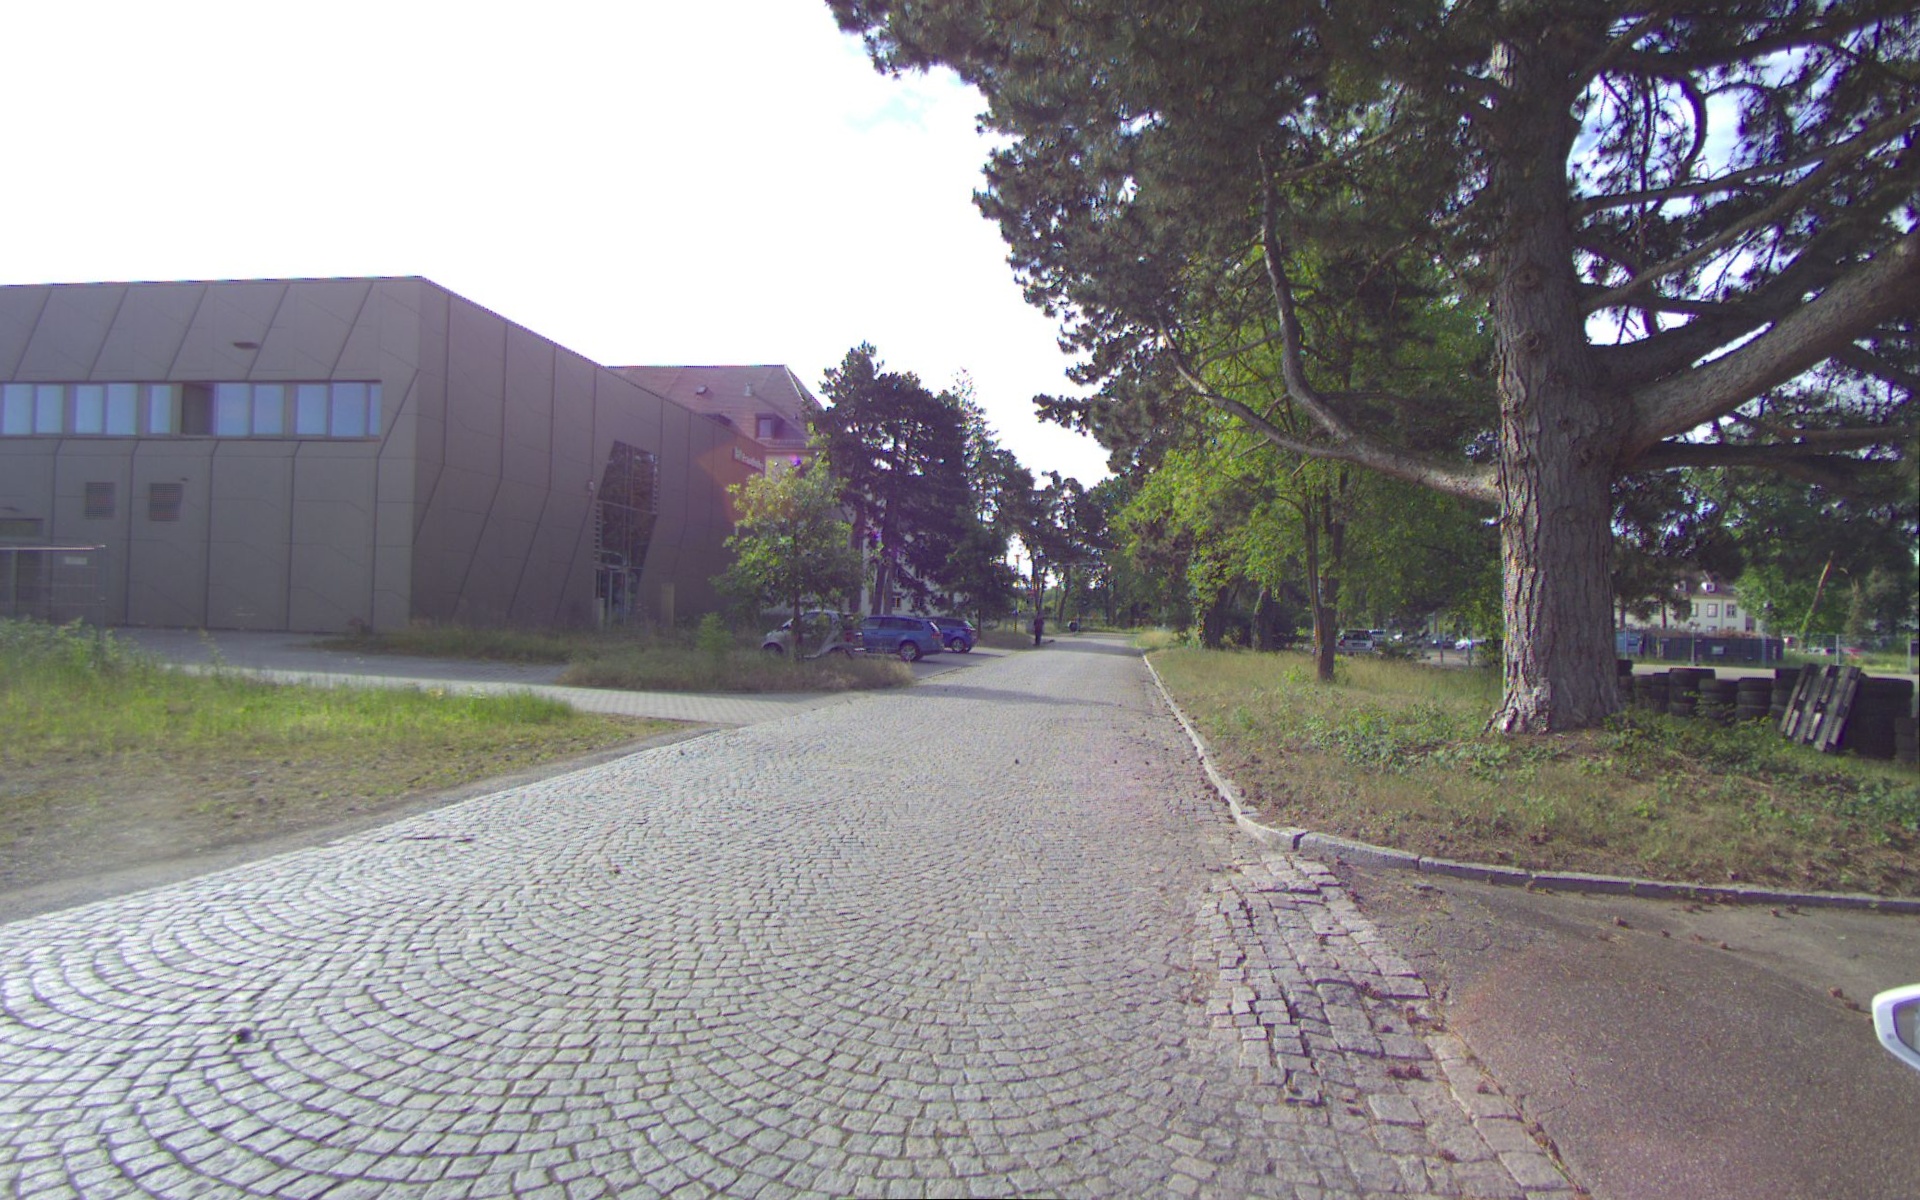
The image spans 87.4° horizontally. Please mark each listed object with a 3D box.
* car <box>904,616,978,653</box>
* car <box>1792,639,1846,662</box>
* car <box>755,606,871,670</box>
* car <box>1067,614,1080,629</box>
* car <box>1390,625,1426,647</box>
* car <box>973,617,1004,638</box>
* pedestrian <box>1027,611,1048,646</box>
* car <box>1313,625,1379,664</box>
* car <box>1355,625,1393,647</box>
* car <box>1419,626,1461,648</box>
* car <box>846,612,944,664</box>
[{"bbox_3d":[-0.795,1.485,43.337,3.032,1.469,1.492,2,-1,3],"label":"car"},{"bbox_3d":[73.377,4.267,85.867,1.960,1.773,4.002,2,-1,14],"label":"car"},{"bbox_3d":[-3.921,0.997,26.919,2.713,1.570,1.426,2,-1,13],"label":"car"},{"bbox_3d":[16.774,3.184,148.147,1.668,2.040,4.003,2,-1,10],"label":"car"},{"bbox_3d":[35.886,2.893,80.544,1.790,1.639,4.003,1,-1,12],"label":"car"},{"bbox_3d":[2.351,2.272,82.511,1.959,1.639,4.003,1,-1,10],"label":"car"},{"bbox_3d":[4.307,1.585,55.763,0.941,1.868,0.955,2,-1,-5],"label":"pedestrian"},{"bbox_3d":[17.386,1.972,45.399,1.854,1.561,4.003,2,-1,8],"label":"car"},{"bbox_3d":[33.231,2.838,80.732,1.959,1.639,4.003,1,-1,10],"label":"car"},{"bbox_3d":[38.387,2.947,80.412,1.959,1.639,4.003,1,-1,10],"label":"car"},{"bbox_3d":[-2.184,1.270,34.048,3.032,1.476,1.493,4,-1,5],"label":"car"}]
